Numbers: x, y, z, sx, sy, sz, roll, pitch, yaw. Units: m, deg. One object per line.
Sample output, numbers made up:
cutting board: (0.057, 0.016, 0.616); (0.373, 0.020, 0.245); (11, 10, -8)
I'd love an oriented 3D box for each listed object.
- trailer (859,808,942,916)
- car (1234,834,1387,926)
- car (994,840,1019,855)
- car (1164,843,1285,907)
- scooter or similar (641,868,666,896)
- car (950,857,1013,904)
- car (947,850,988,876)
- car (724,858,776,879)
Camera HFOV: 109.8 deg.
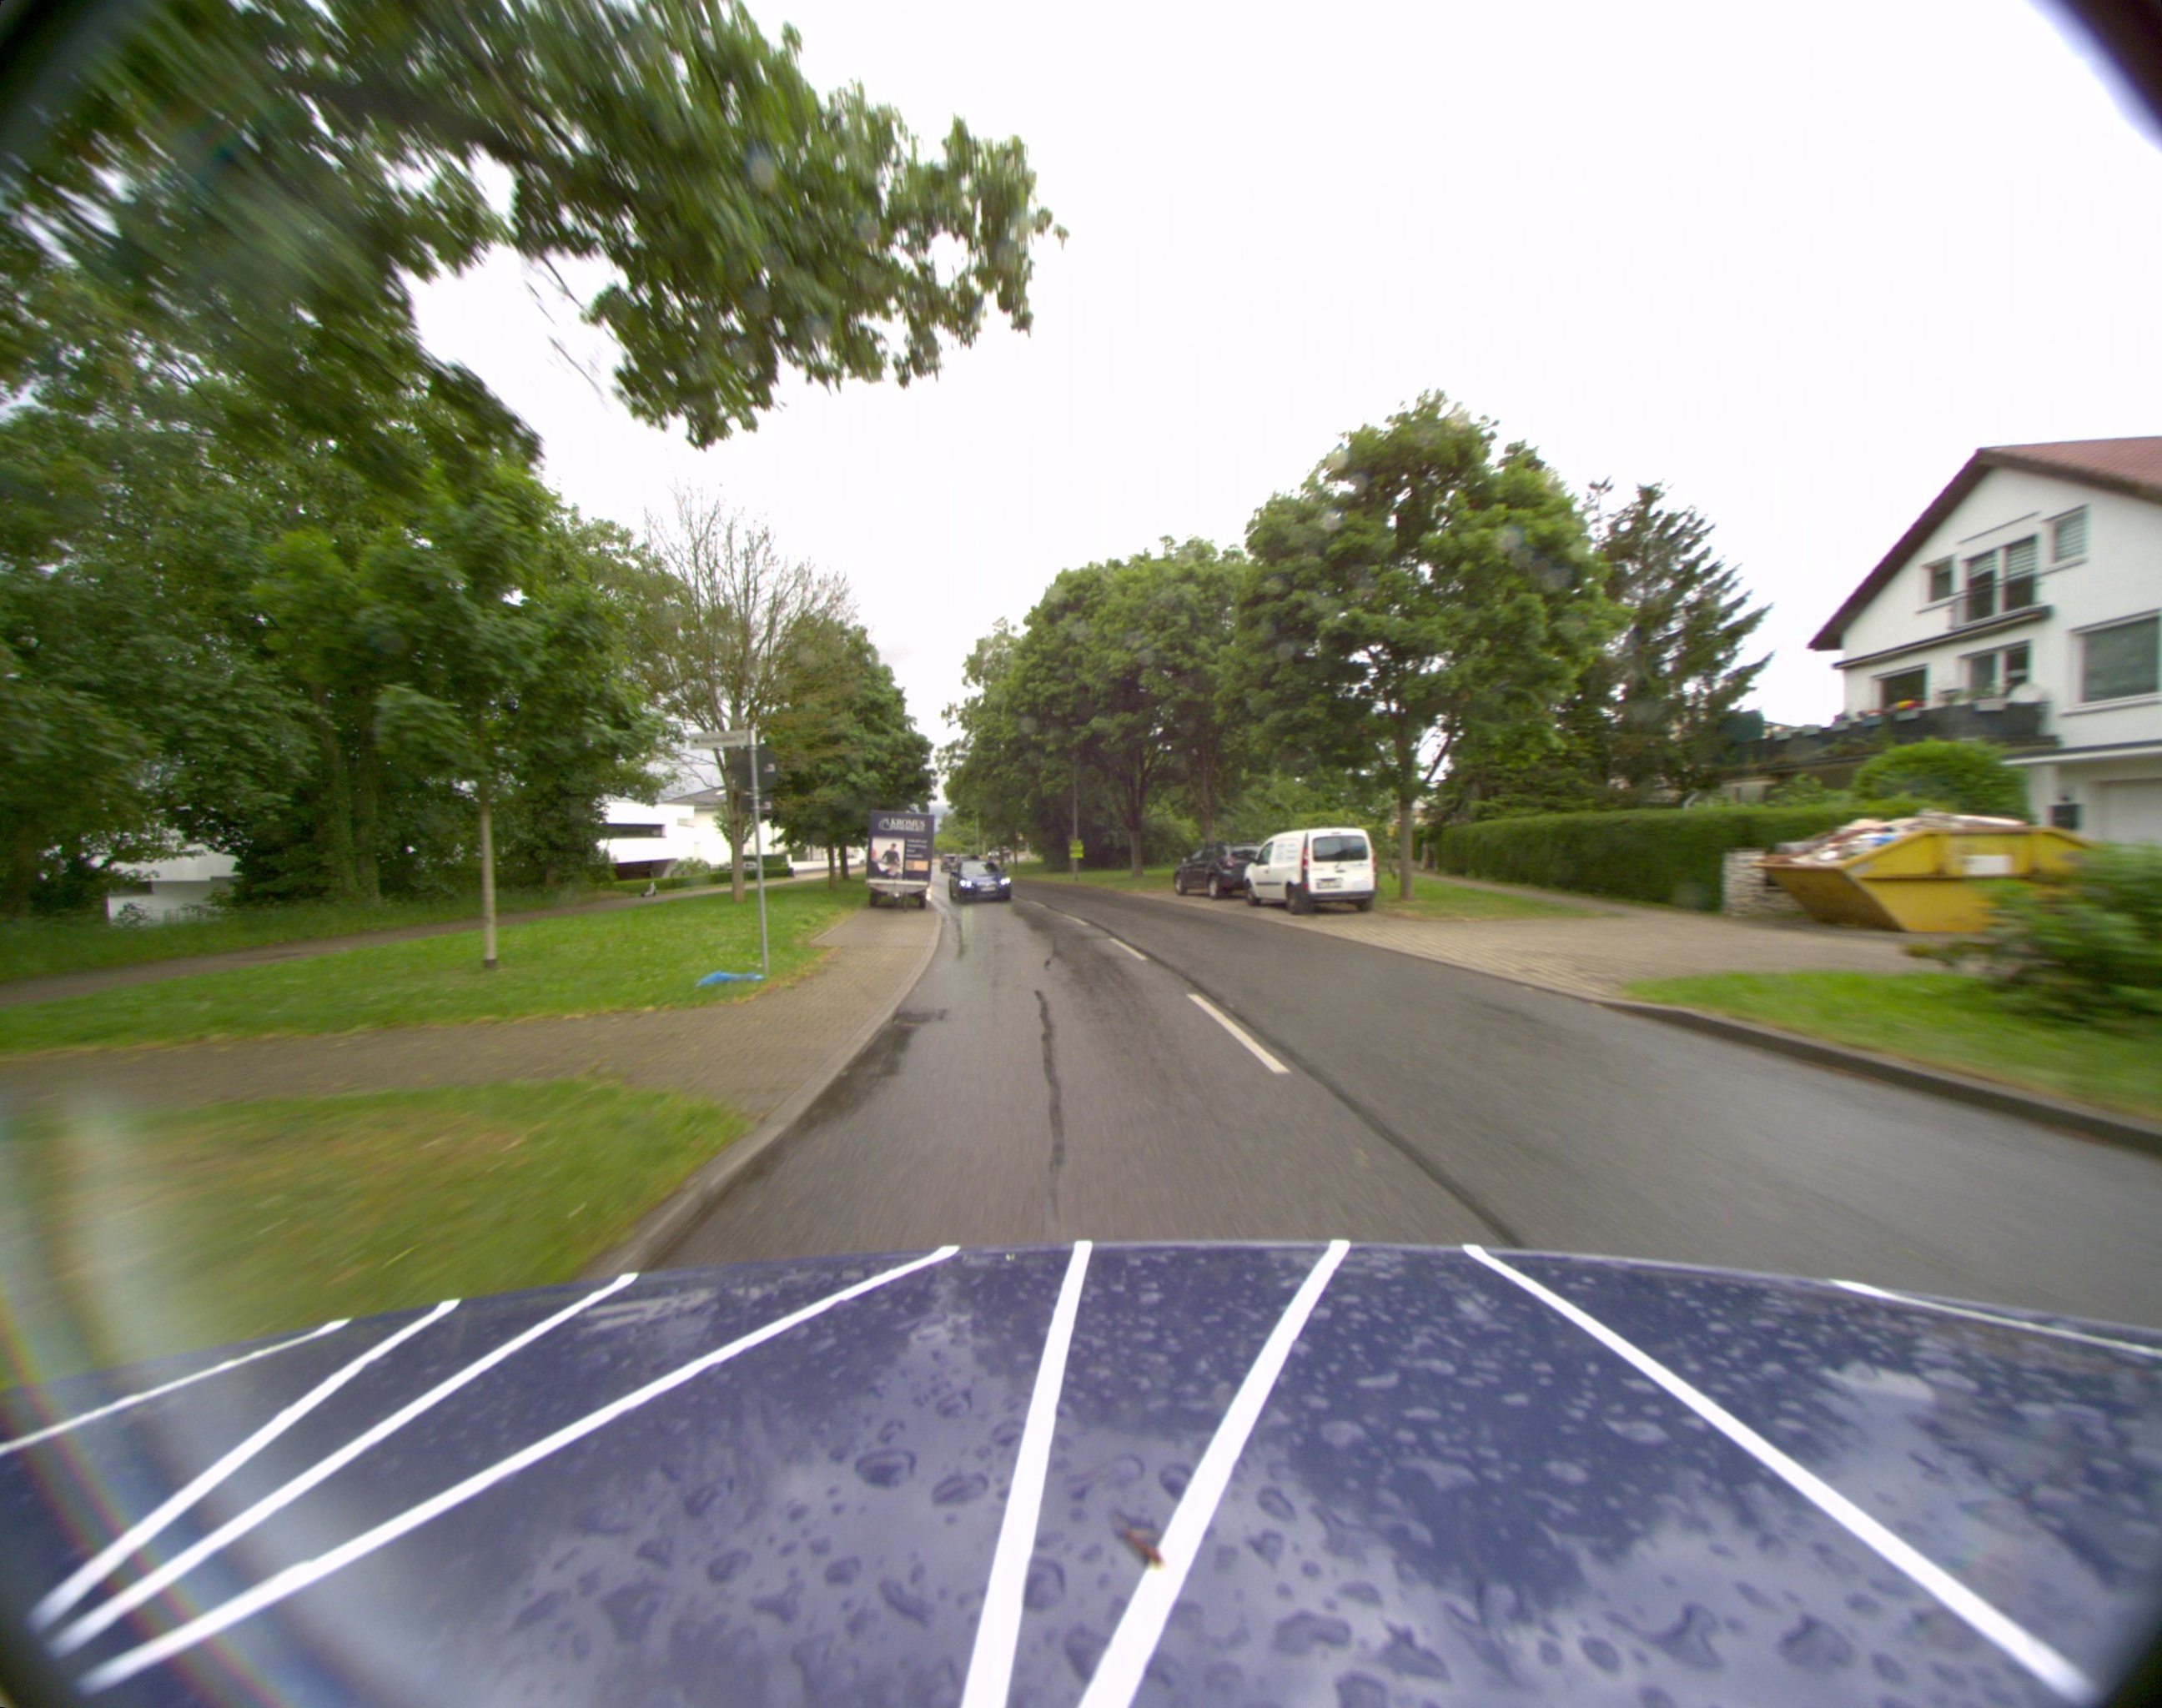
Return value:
trailer: (-5.454, 0.227, 23.227); (2.001, 2.791, 5.601); (4, -1, -12)
car: (5.133, 0.498, 17.657); (1.804, 1.785, 4.369); (-3, 1, -6)
car: (-10.317, -0.870, 105.671); (1.996, 1.848, 4.004); (-2, 2, 18)
car: (4.140, 0.529, 22.807); (1.756, 1.631, 4.586); (-4, 2, -14)
scooter or similar: (-17.950, 1.173, 31.925); (0.464, 1.140, 1.300); (0, 1, -8)
car: (-3.747, 0.911, 28.014); (1.817, 1.460, 3.969); (-3, 1, -14)
car: (-8.050, 0.602, 53.604); (1.859, 1.682, 4.397); (-2, 0, -21)
car: (-28.485, 1.234, 65.560); (1.924, 1.541, 4.461); (-3, 2, 8)
